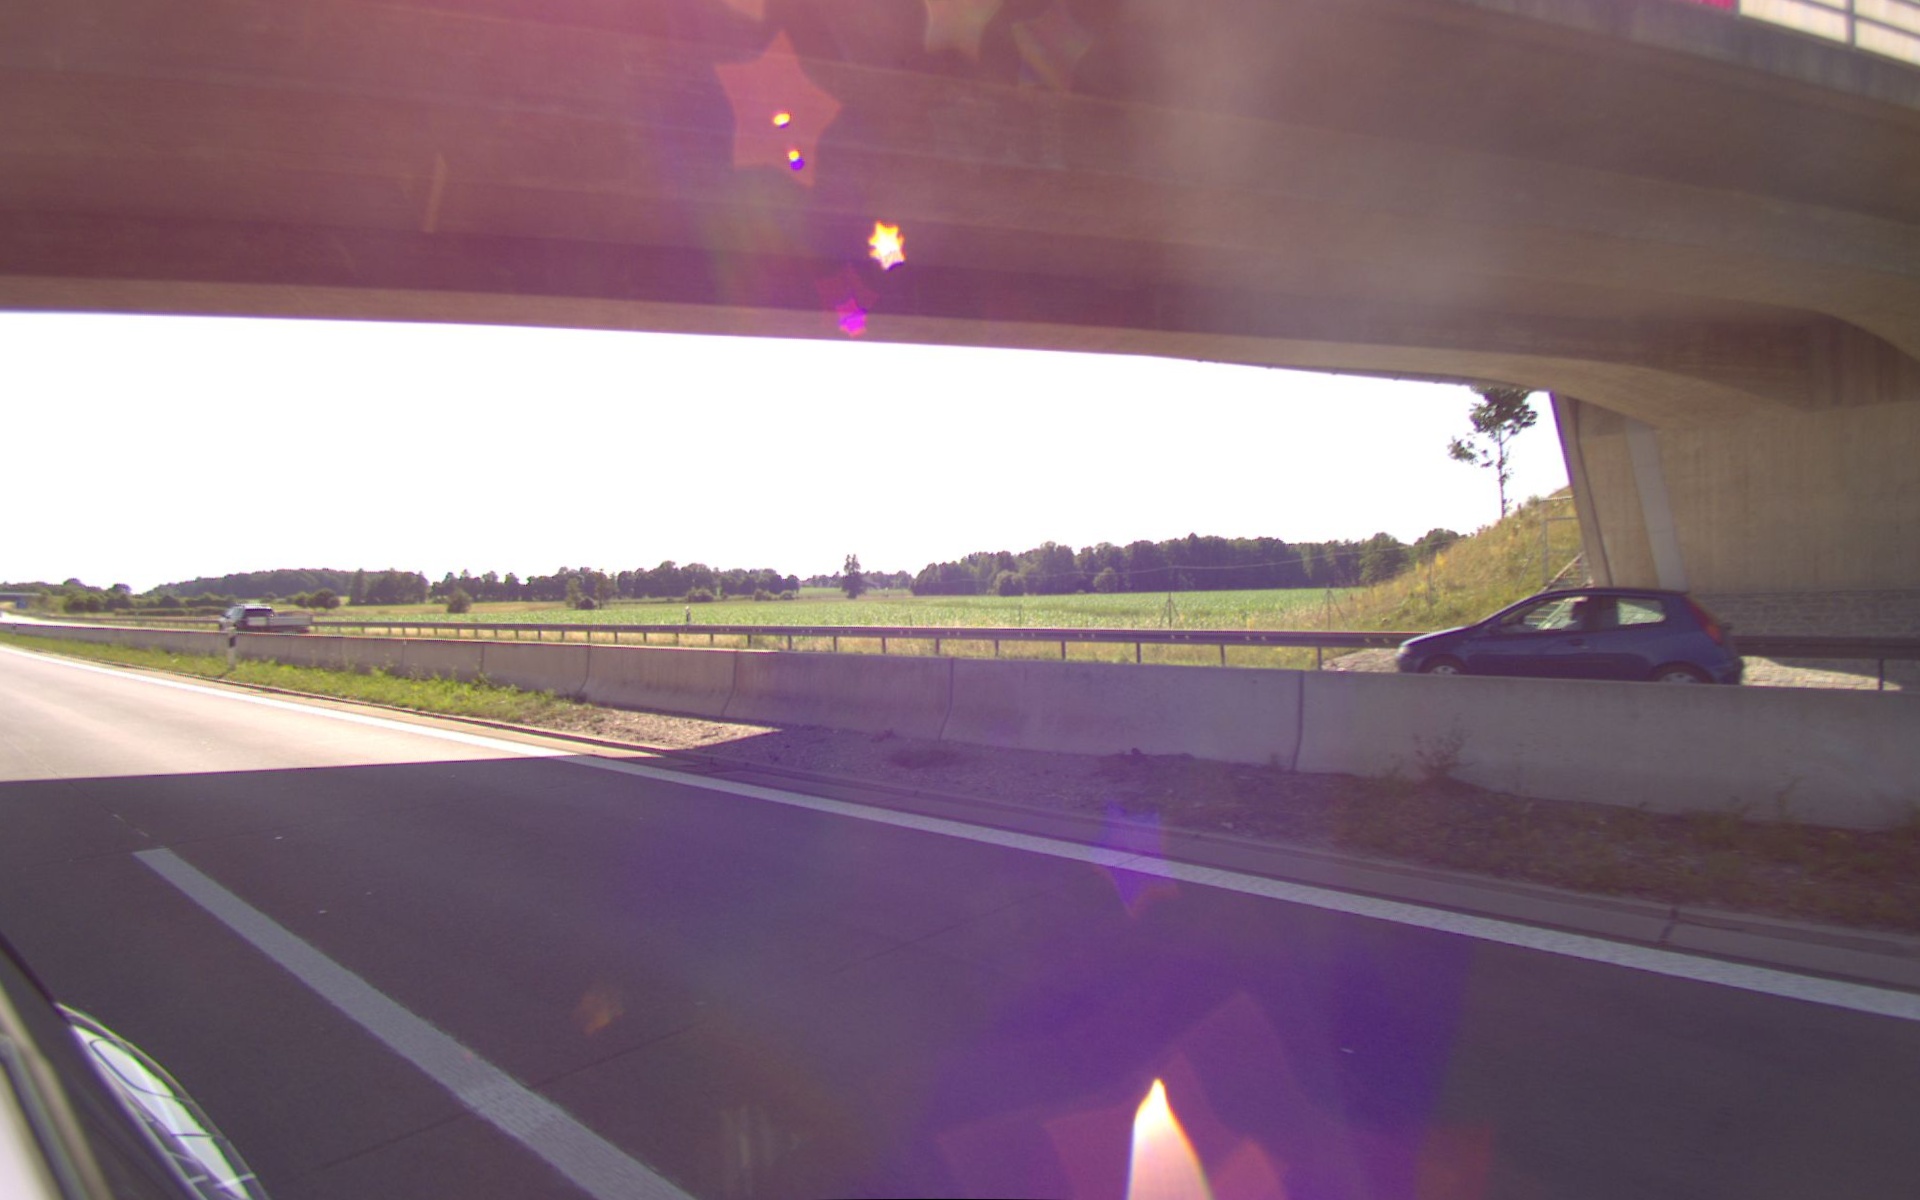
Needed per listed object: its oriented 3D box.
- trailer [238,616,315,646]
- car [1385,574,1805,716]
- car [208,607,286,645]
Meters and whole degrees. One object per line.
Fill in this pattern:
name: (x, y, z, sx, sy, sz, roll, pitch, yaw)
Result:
trailer: (-31.970, 1.420, 47.298, 4.260, 1.267, 1.973, -1, 0, 41)
car: (7.748, 0.492, 12.568, 4.192, 1.471, 1.836, -1, 0, 41)
car: (-35.666, 1.311, 50.578, 5.585, 1.744, 1.973, -1, 0, 42)
